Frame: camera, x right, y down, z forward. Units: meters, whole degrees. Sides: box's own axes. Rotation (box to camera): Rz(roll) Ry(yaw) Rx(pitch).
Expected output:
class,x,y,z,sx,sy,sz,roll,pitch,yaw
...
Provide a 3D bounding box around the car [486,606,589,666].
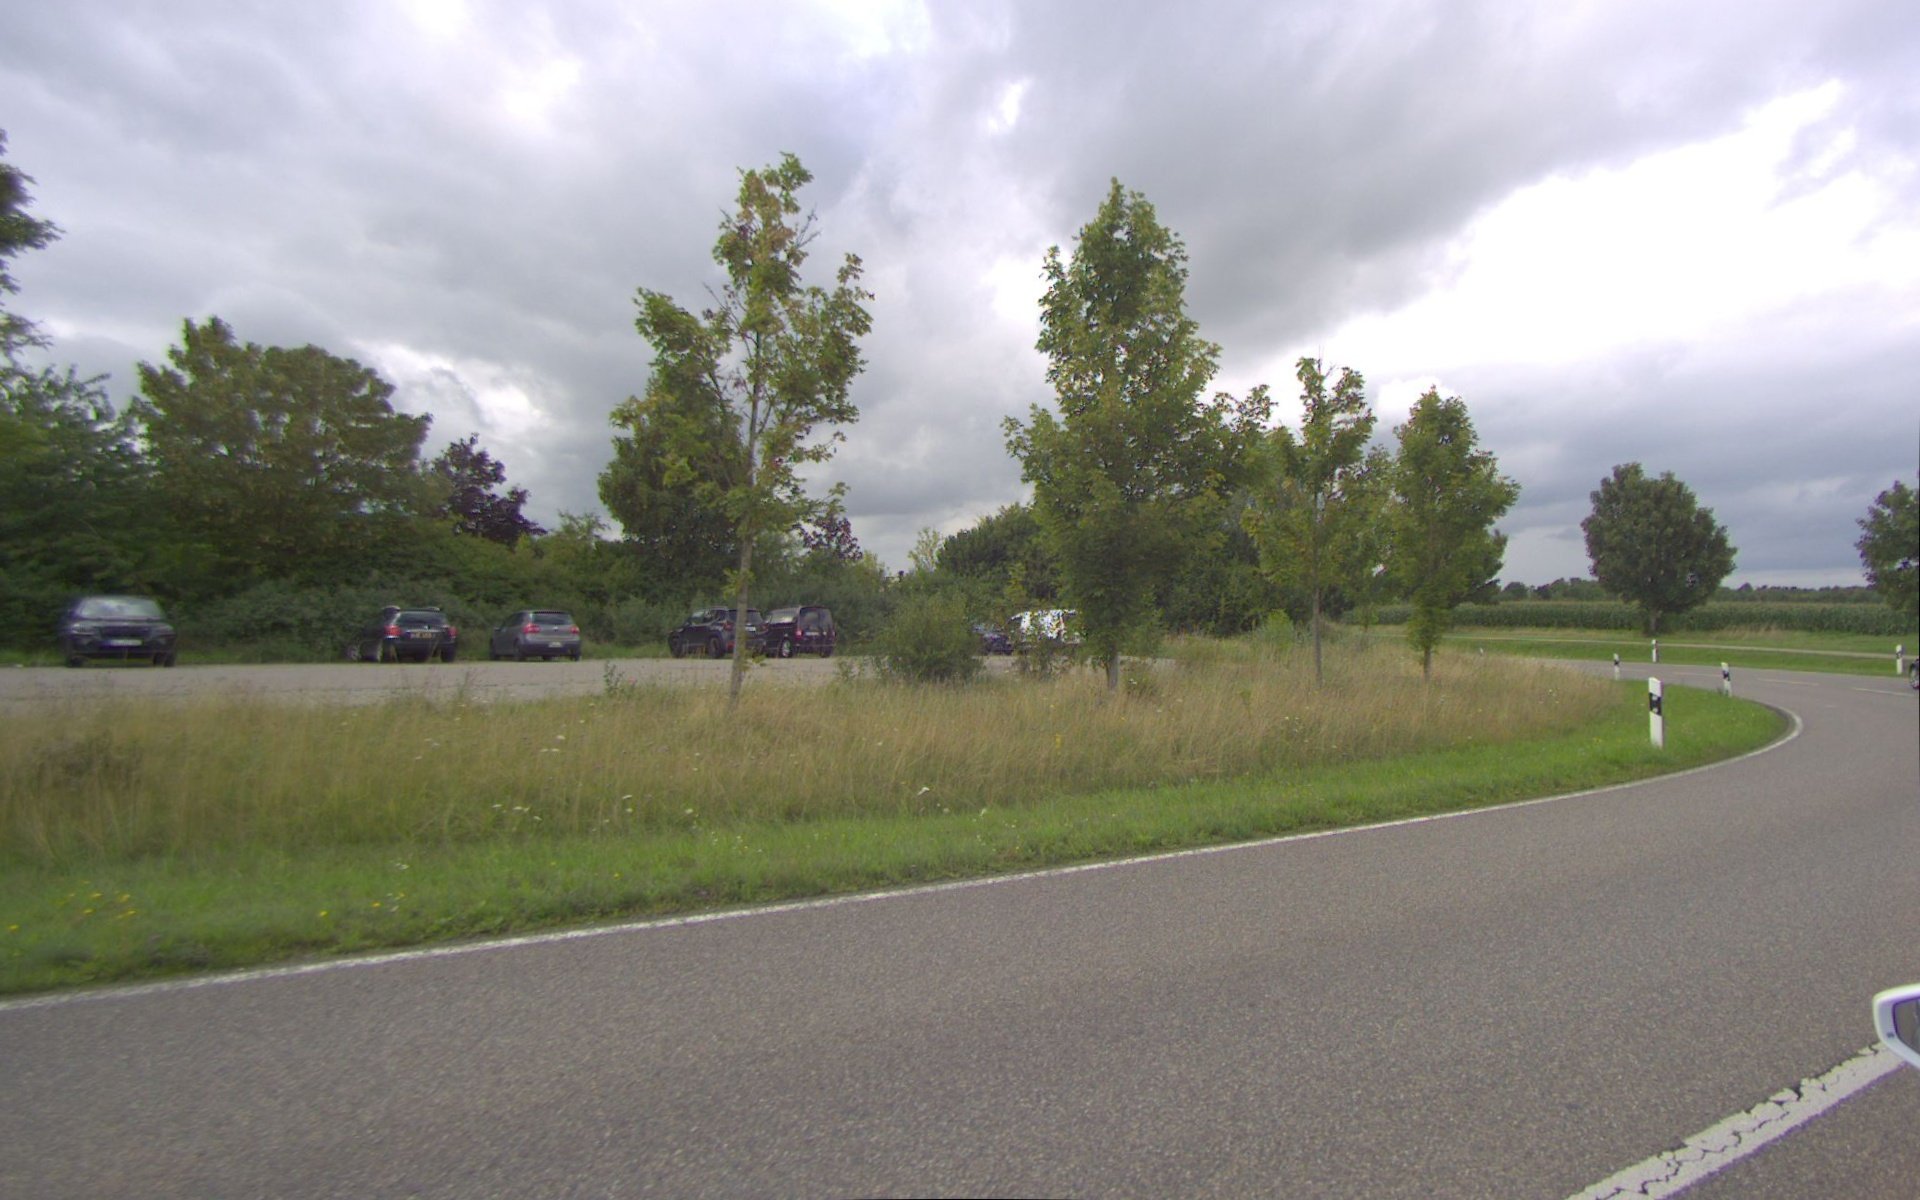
class,x,y,z,sx,sy,sz,roll,pitch,yaw
car,-12.542,1.005,29.658,1.743,1.587,4.207,1,0,-38

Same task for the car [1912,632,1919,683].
class,x,y,z,sx,sy,sz,roll,pitch,yaw
car,27.360,1.620,26.743,1.813,1.436,3.996,1,0,26

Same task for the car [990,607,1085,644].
class,x,y,z,sx,sy,sz,roll,pitch,yaw
car,3.187,1.031,41.884,3.946,1.398,1.467,0,0,45

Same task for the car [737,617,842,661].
class,x,y,z,sx,sy,sz,roll,pitch,yaw
car,-6.079,1.341,35.633,3.939,1.398,1.469,0,0,40

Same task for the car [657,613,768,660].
class,x,y,z,sx,sy,sz,roll,pitch,yaw
car,-8.178,1.167,32.986,3.938,1.398,1.469,0,0,39

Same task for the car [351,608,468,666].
class,x,y,z,sx,sy,sz,roll,pitch,yaw
car,-14.892,0.953,27.101,1.812,1.398,3.948,1,0,-44

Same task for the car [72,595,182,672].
class,x,y,z,sx,sy,sz,roll,pitch,yaw
car,-19.221,0.702,23.115,1.745,1.587,4.201,1,0,-42

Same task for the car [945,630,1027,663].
class,x,y,z,sx,sy,sz,roll,pitch,yaw
car,0.995,1.845,40.395,1.321,1.182,3.577,1,0,-39
